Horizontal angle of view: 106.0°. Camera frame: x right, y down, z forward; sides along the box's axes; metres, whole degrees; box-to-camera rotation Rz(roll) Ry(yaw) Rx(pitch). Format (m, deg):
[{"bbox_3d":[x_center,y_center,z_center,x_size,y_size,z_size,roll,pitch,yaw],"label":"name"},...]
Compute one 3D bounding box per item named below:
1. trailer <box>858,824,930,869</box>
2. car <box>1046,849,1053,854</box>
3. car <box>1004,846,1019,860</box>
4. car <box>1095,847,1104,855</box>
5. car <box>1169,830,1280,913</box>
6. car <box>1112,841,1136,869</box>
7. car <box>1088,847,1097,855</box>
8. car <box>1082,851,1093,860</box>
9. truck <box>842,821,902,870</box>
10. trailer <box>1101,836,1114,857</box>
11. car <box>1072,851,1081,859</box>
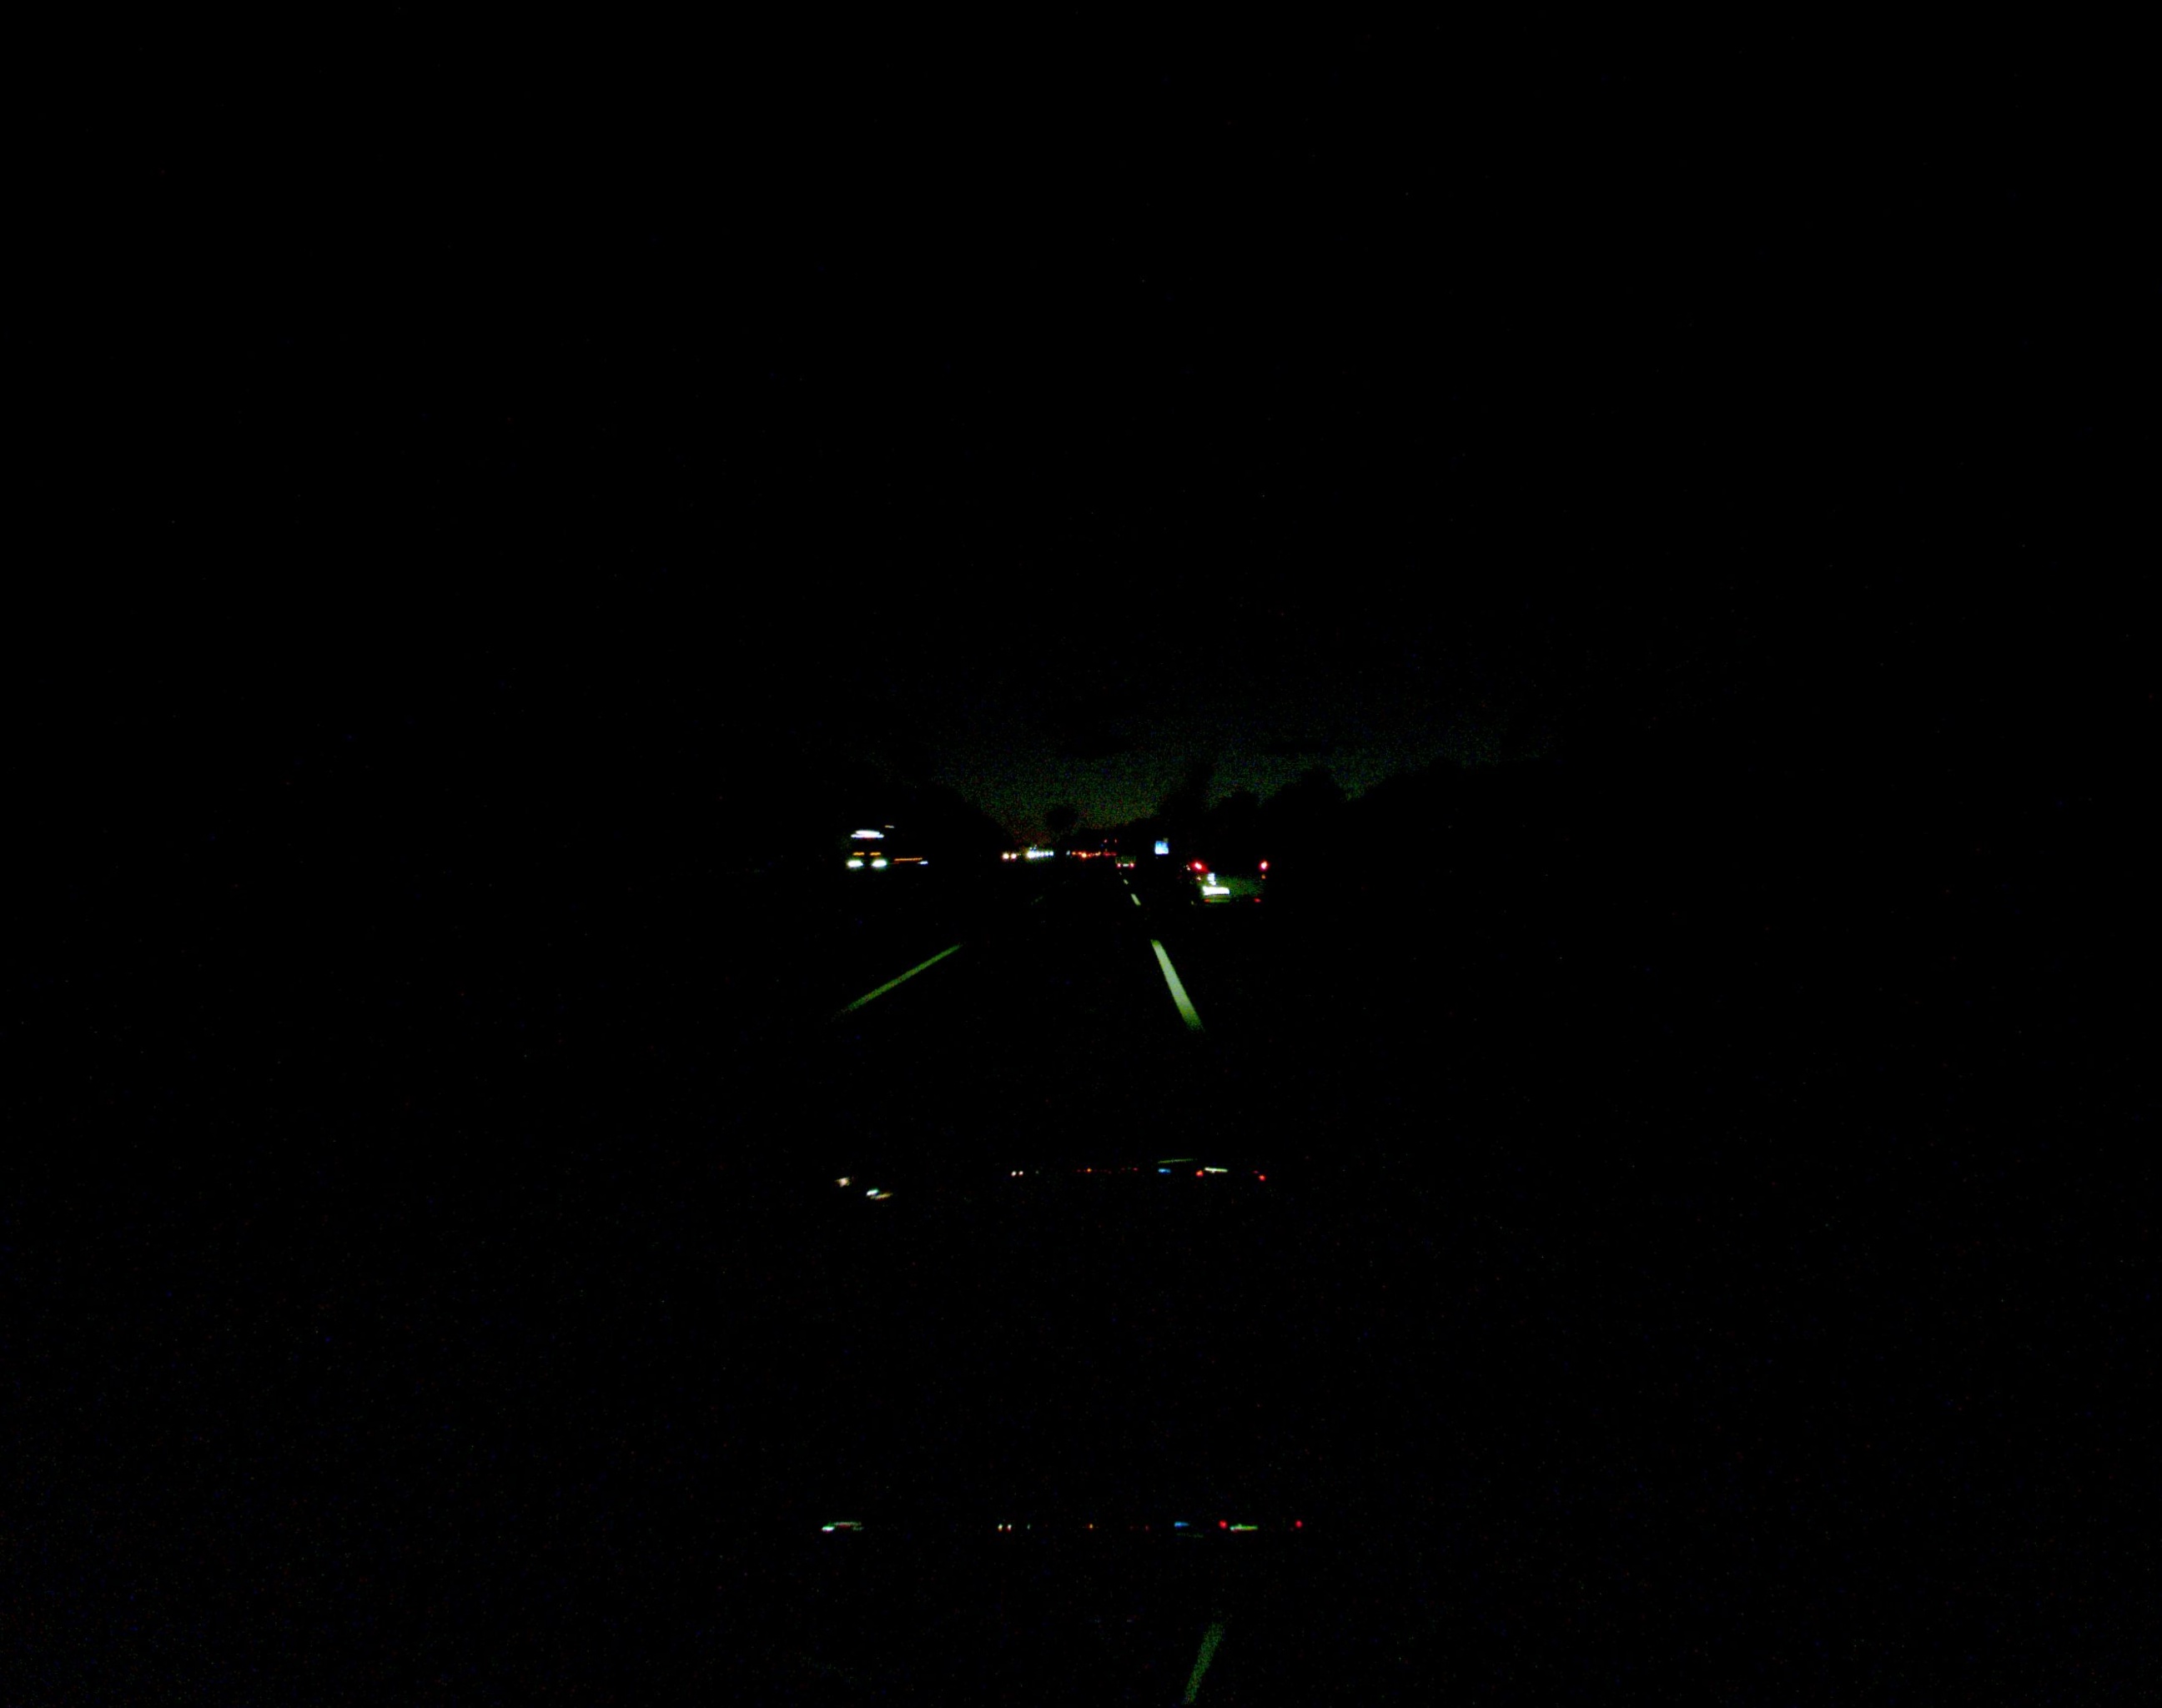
[{"bbox_3d":[-17.652,-0.659,78.150,3.418,3.980,13.815,0,0,1],"label":"trailer"},{"bbox_3d":[-9.632,-0.805,248.577,2.003,1.669,4.484,-1,0,2],"label":"car"},{"bbox_3d":[-12.617,-0.256,148.606,2.093,2.517,6.217,0,0,1],"label":"car"},{"bbox_3d":[5.157,-0.966,229.418,1.990,2.117,3.994,0,-2,-4],"label":"car"},{"bbox_3d":[3.777,0.430,22.535,2.108,2.001,5.663,0,0,0],"label":"car"},{"bbox_3d":[4.237,0.068,80.980,2.026,2.647,5.723,0,0,0],"label":"car"},{"bbox_3d":[2.693,-0.766,192.411,1.986,1.794,4.000,0,-2,1],"label":"car"},{"bbox_3d":[1.288,0.278,161.462,1.988,1.794,3.997,0,-2,-1],"label":"car"},{"bbox_3d":[-17.844,-0.671,69.937,3.418,3.980,6.208,0,0,1],"label":"truck"},{"bbox_3d":[6.399,-1.646,193.939,2.818,4.257,17.054,0,-2,2],"label":"trailer"},{"bbox_3d":[-1.038,0.267,184.223,1.987,1.816,3.999,0,-2,0],"label":"car"}]
